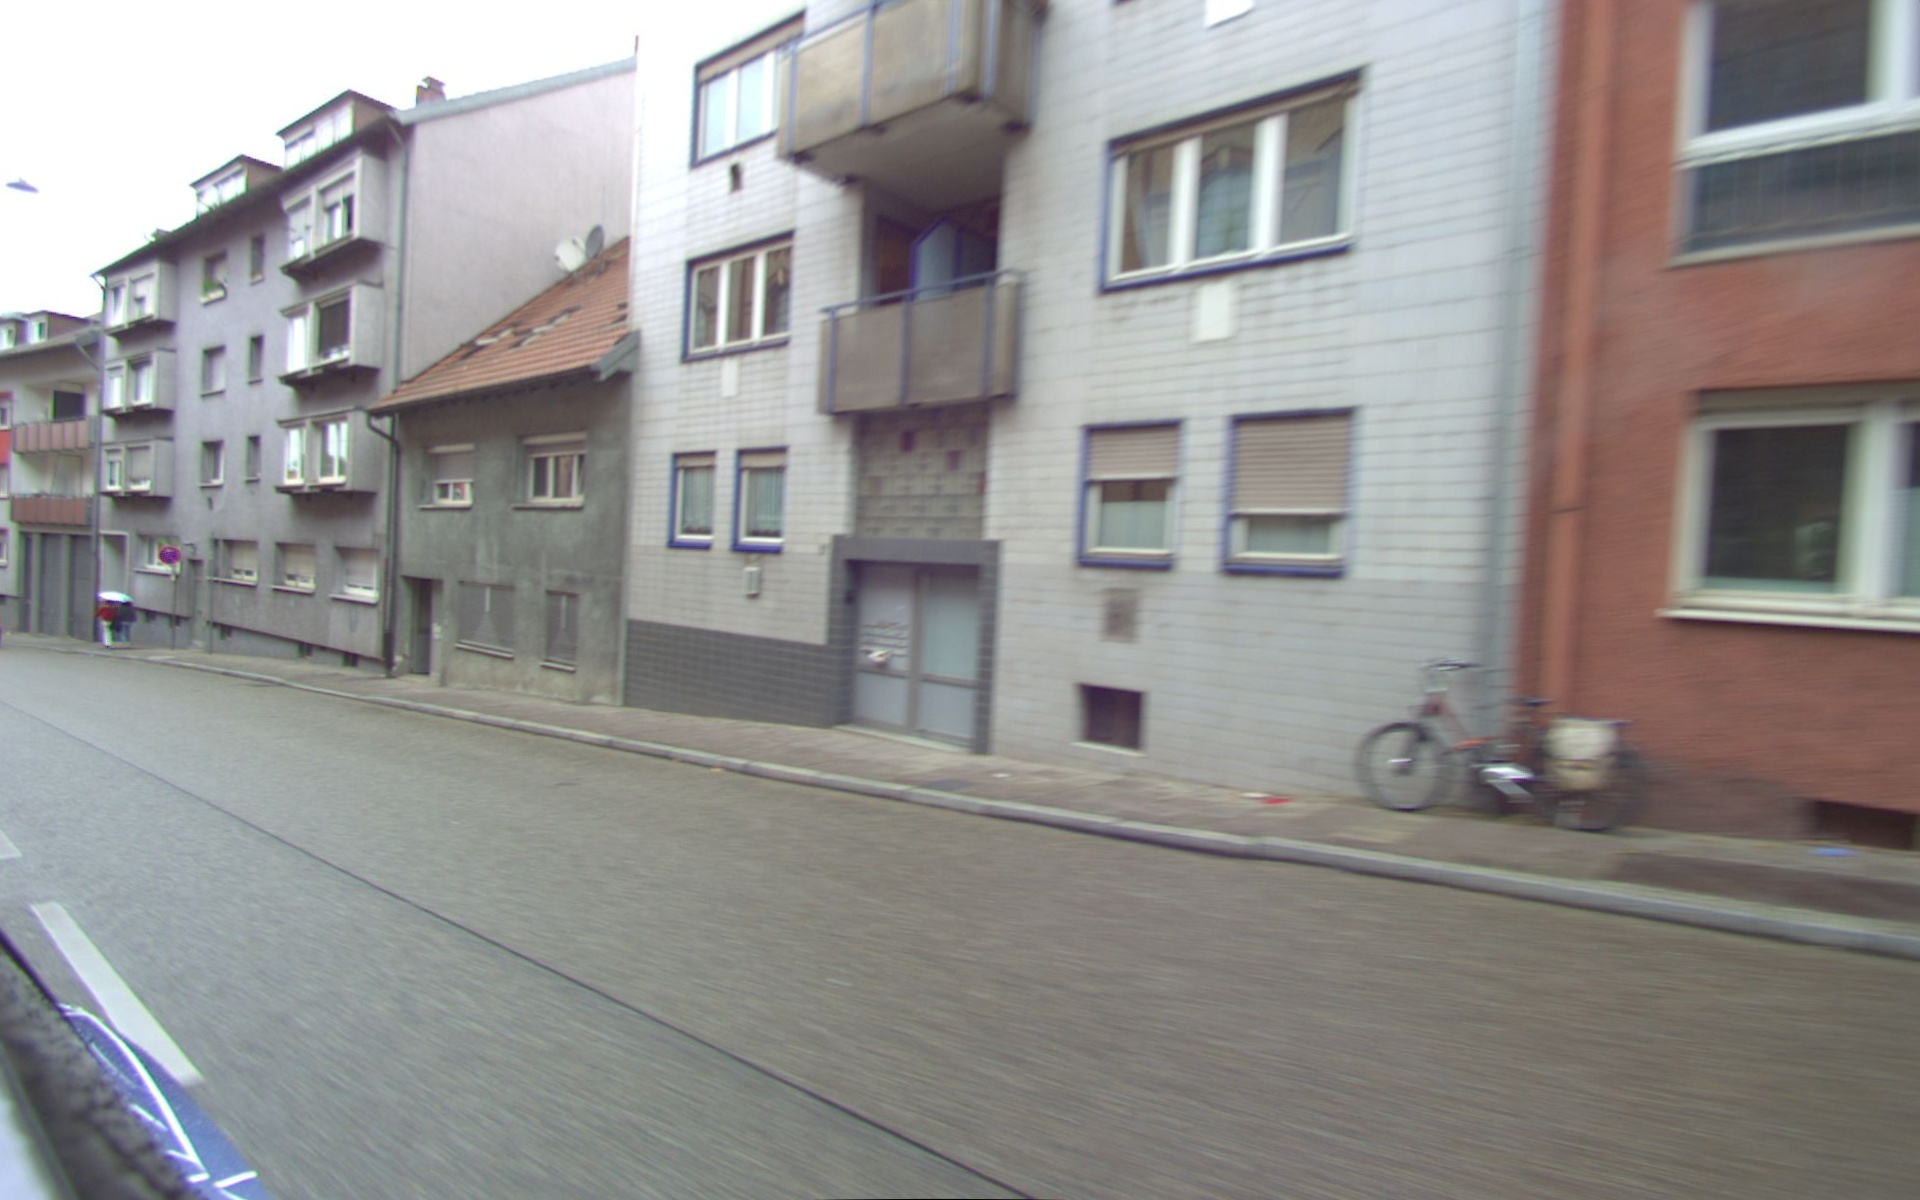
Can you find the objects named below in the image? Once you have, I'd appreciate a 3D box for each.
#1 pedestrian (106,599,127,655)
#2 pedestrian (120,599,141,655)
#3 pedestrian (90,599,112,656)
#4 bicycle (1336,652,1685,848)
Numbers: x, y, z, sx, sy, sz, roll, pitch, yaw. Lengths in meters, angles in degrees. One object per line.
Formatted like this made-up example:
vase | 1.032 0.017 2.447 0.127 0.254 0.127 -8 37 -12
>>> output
pedestrian | -26.957 0.859 32.332 0.498 1.793 0.377 -1 0 32
pedestrian | -26.759 0.857 32.646 0.498 1.793 0.351 -1 0 32
pedestrian | -27.156 0.862 32.000 0.498 1.793 0.382 -1 0 32
bicycle | 3.745 0.955 7.037 2.039 1.125 0.565 -1 0 42
